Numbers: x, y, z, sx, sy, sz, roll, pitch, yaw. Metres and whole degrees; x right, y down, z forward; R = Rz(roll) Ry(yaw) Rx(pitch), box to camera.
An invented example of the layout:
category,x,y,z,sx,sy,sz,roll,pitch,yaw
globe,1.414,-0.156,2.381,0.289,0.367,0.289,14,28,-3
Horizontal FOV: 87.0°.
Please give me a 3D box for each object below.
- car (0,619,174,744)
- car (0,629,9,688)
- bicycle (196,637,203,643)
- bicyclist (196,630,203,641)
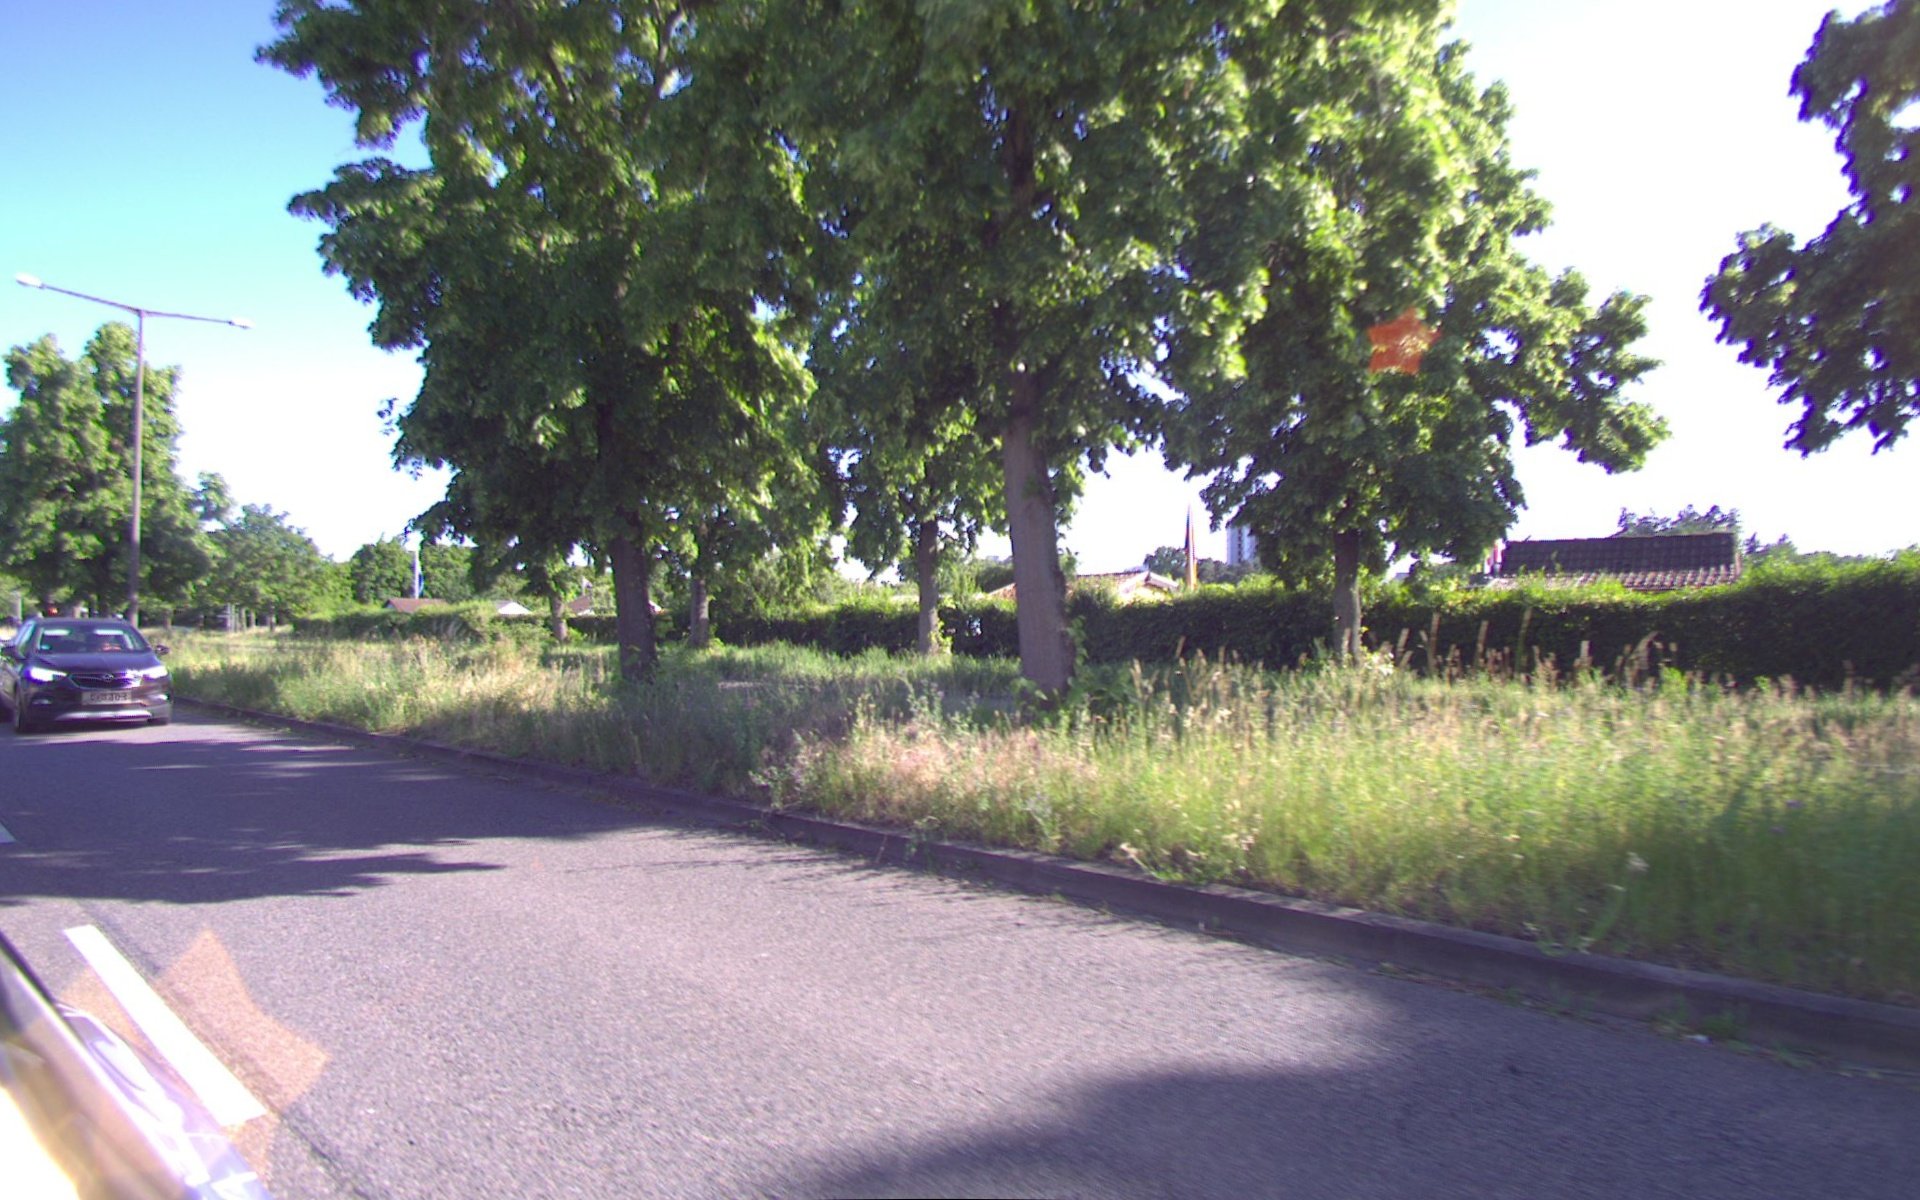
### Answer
category,x,y,z,sx,sy,sz,roll,pitch,yaw
car,-13.545,1.156,15.472,3.854,1.675,1.691,-2,-3,41
car,-28.634,1.668,28.866,4.090,1.626,1.807,-2,-2,41
bicycle,-86.301,4.519,114.829,0.557,0.700,1.879,1,-2,-36
bicyclist,-86.288,3.989,114.804,0.575,1.266,0.577,0,-1,-36
